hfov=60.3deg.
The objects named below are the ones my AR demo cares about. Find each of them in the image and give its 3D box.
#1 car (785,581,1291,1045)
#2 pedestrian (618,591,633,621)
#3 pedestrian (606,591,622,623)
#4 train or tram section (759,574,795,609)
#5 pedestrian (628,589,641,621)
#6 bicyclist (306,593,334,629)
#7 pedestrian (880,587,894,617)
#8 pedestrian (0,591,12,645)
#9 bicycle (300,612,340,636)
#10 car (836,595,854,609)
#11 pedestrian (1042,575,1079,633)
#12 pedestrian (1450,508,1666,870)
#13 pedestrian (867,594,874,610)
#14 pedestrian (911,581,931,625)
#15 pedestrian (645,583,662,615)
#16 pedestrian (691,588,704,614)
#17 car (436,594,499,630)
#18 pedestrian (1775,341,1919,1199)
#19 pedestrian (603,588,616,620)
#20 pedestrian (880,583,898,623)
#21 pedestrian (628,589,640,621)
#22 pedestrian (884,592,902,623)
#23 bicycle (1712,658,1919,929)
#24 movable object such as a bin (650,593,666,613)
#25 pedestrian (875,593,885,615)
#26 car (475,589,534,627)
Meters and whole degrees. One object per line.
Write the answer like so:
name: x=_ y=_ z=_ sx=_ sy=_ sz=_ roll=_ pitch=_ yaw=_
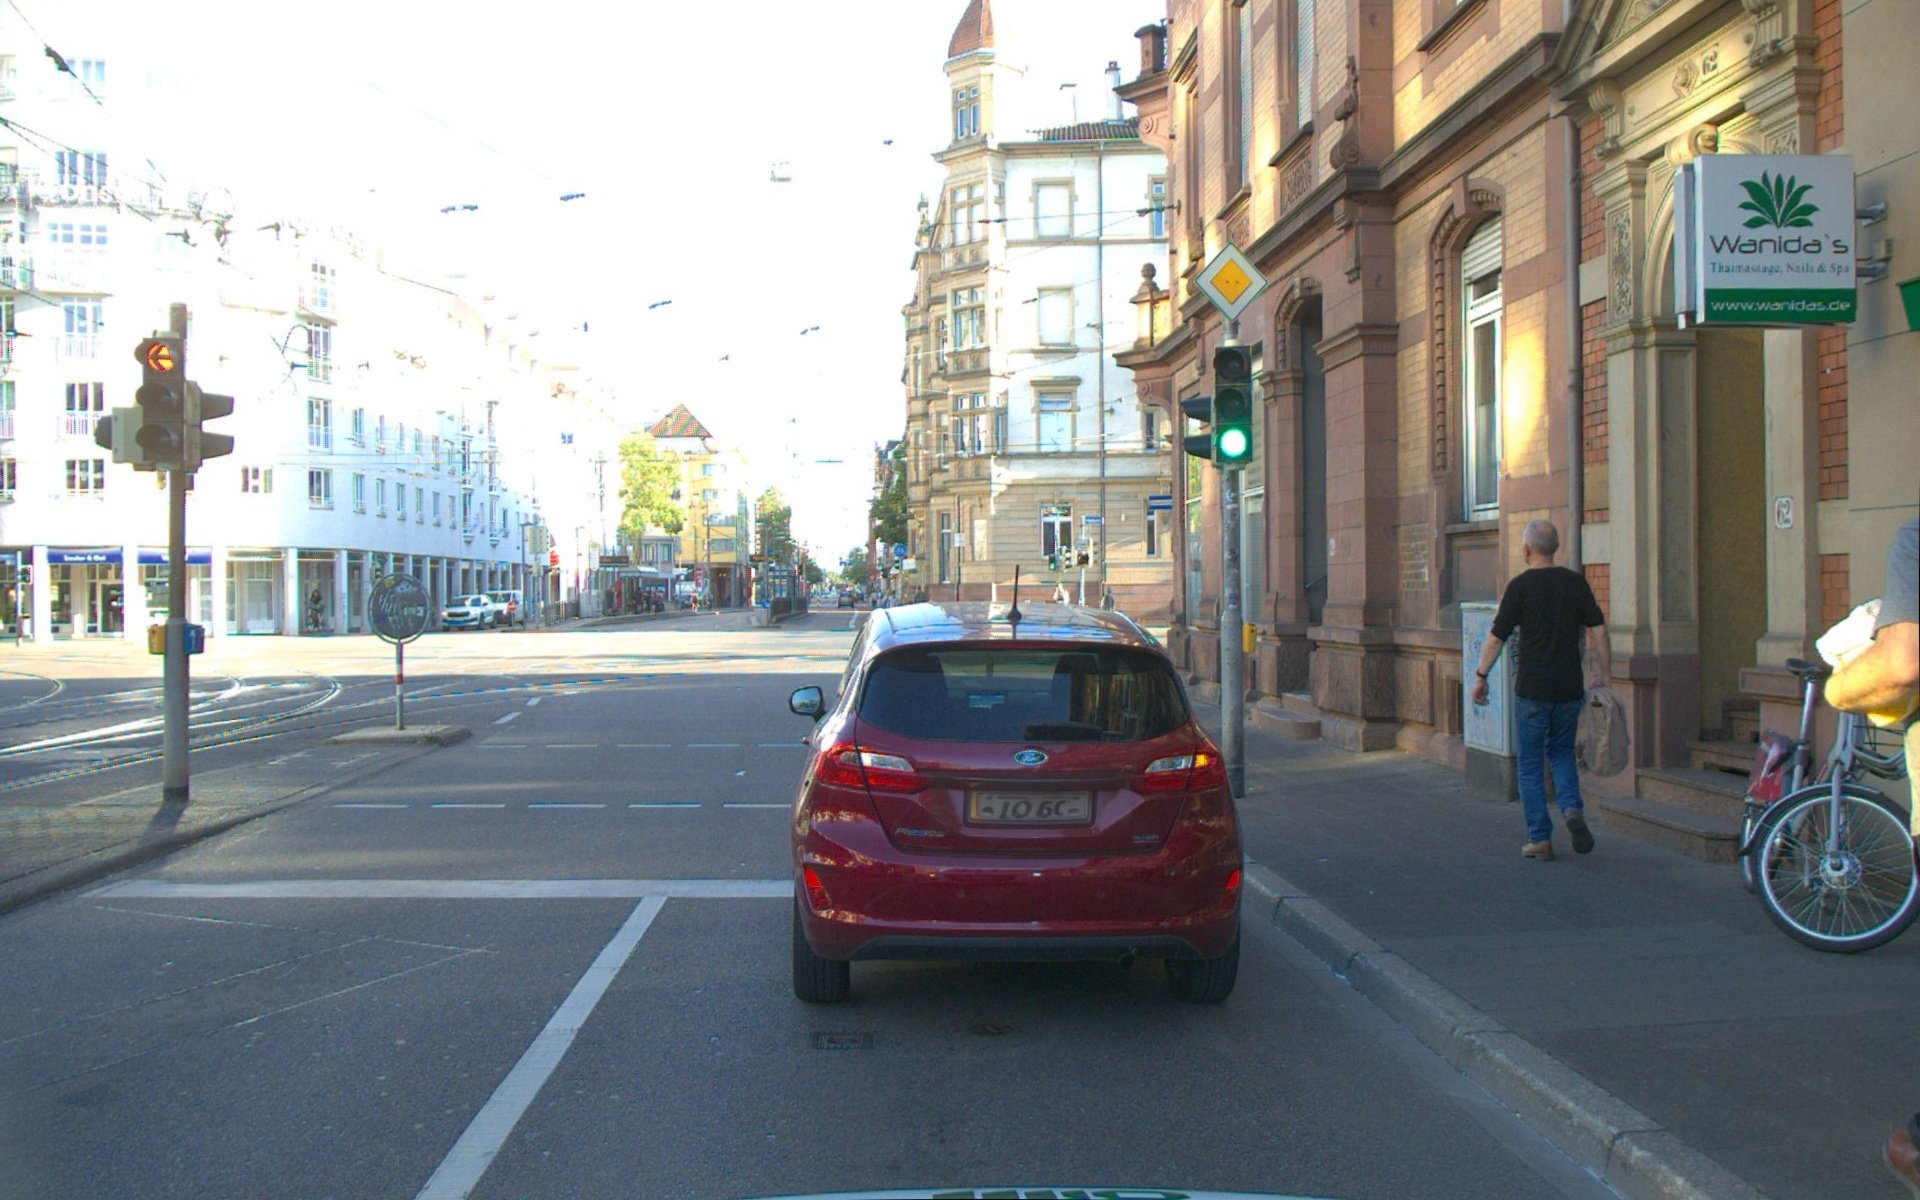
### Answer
car: x=0.182 y=0.701 z=7.262 sx=1.658 sy=1.521 sz=3.578 roll=1 pitch=0 yaw=-3
pedestrian: x=-19.406 y=0.340 z=95.987 sx=0.687 sy=1.721 sz=0.666 roll=0 pitch=0 yaw=-28
pedestrian: x=-19.238 y=0.378 z=91.873 sx=0.751 sy=1.763 sz=0.518 roll=-1 pitch=-1 yaw=38
train or tram section: x=-19.177 y=-0.839 z=173.729 sx=2.827 sy=3.551 sz=14.160 roll=0 pitch=0 yaw=-2
pedestrian: x=-19.603 y=0.296 z=99.661 sx=0.682 sy=1.938 sz=0.671 roll=-1 pitch=0 yaw=-7
bicyclist: x=-27.024 y=0.463 z=69.880 sx=0.823 sy=1.493 sz=0.896 roll=-1 pitch=0 yaw=0
pedestrian: x=-4.628 y=0.135 z=104.914 sx=0.700 sy=1.805 sz=0.772 roll=-3 pitch=1 yaw=-7
pedestrian: x=-31.276 y=0.582 z=53.414 sx=0.850 sy=1.711 sz=0.697 roll=-2 pitch=2 yaw=4
bicycle: x=-27.020 y=0.997 z=69.867 sx=0.823 sy=0.943 sz=2.265 roll=-1 pitch=0 yaw=0
car: x=-12.615 y=0.188 z=181.338 sx=1.954 sy=1.475 sz=3.997 roll=0 pitch=0 yaw=-4
pedestrian: x=3.279 y=0.122 z=54.038 sx=1.003 sy=1.838 sz=1.081 roll=-1 pitch=0 yaw=-7
pedestrian: x=3.063 y=0.433 z=8.529 sx=0.760 sy=1.753 sz=0.754 roll=-2 pitch=0 yaw=-4
pedestrian: x=-9.419 y=0.242 z=173.813 sx=0.735 sy=1.690 sz=0.650 roll=1 pitch=-1 yaw=-1
pedestrian: x=-1.712 y=0.119 z=72.364 sx=0.785 sy=1.855 sz=0.797 roll=-2 pitch=1 yaw=-4
pedestrian: x=-18.866 y=-0.072 z=101.848 sx=0.914 sy=1.938 sz=0.880 roll=-1 pitch=0 yaw=-7
pedestrian: x=-20.279 y=0.075 z=127.856 sx=0.865 sy=1.938 sz=0.929 roll=0 pitch=0 yaw=-20
car: x=-23.536 y=0.564 z=79.182 sx=1.954 sy=1.648 sz=4.506 roll=-1 pitch=0 yaw=-4
pedestrian: x=2.309 y=0.440 z=3.413 sx=0.805 sy=1.927 sz=0.754 roll=-2 pitch=0 yaw=-4
pedestrian: x=-19.009 y=0.213 z=89.793 sx=0.587 sy=1.721 sz=0.613 roll=-1 pitch=0 yaw=-4
pedestrian: x=-3.154 y=0.142 z=73.550 sx=0.702 sy=1.751 sz=0.797 roll=-2 pitch=-1 yaw=2
pedestrian: x=-19.779 y=0.297 z=100.341 sx=0.682 sy=1.938 sz=0.671 roll=-1 pitch=0 yaw=-7
pedestrian: x=-2.946 y=0.337 z=72.600 sx=0.703 sy=1.354 sz=0.795 roll=-2 pitch=-1 yaw=-6
bicycle: x=3.680 y=0.788 z=7.173 sx=0.337 sy=1.013 sz=1.241 roll=-2 pitch=0 yaw=5
movable object such as a bin: x=-19.778 y=0.185 z=108.361 sx=0.919 sy=1.309 sz=0.933 roll=-1 pitch=0 yaw=-6
pedestrian: x=-6.686 y=0.321 z=138.492 sx=0.700 sy=1.805 sz=0.772 roll=-3 pitch=1 yaw=-7
car: x=-24.005 y=0.400 z=87.294 sx=1.954 sy=1.869 sz=5.342 roll=-1 pitch=0 yaw=-4
